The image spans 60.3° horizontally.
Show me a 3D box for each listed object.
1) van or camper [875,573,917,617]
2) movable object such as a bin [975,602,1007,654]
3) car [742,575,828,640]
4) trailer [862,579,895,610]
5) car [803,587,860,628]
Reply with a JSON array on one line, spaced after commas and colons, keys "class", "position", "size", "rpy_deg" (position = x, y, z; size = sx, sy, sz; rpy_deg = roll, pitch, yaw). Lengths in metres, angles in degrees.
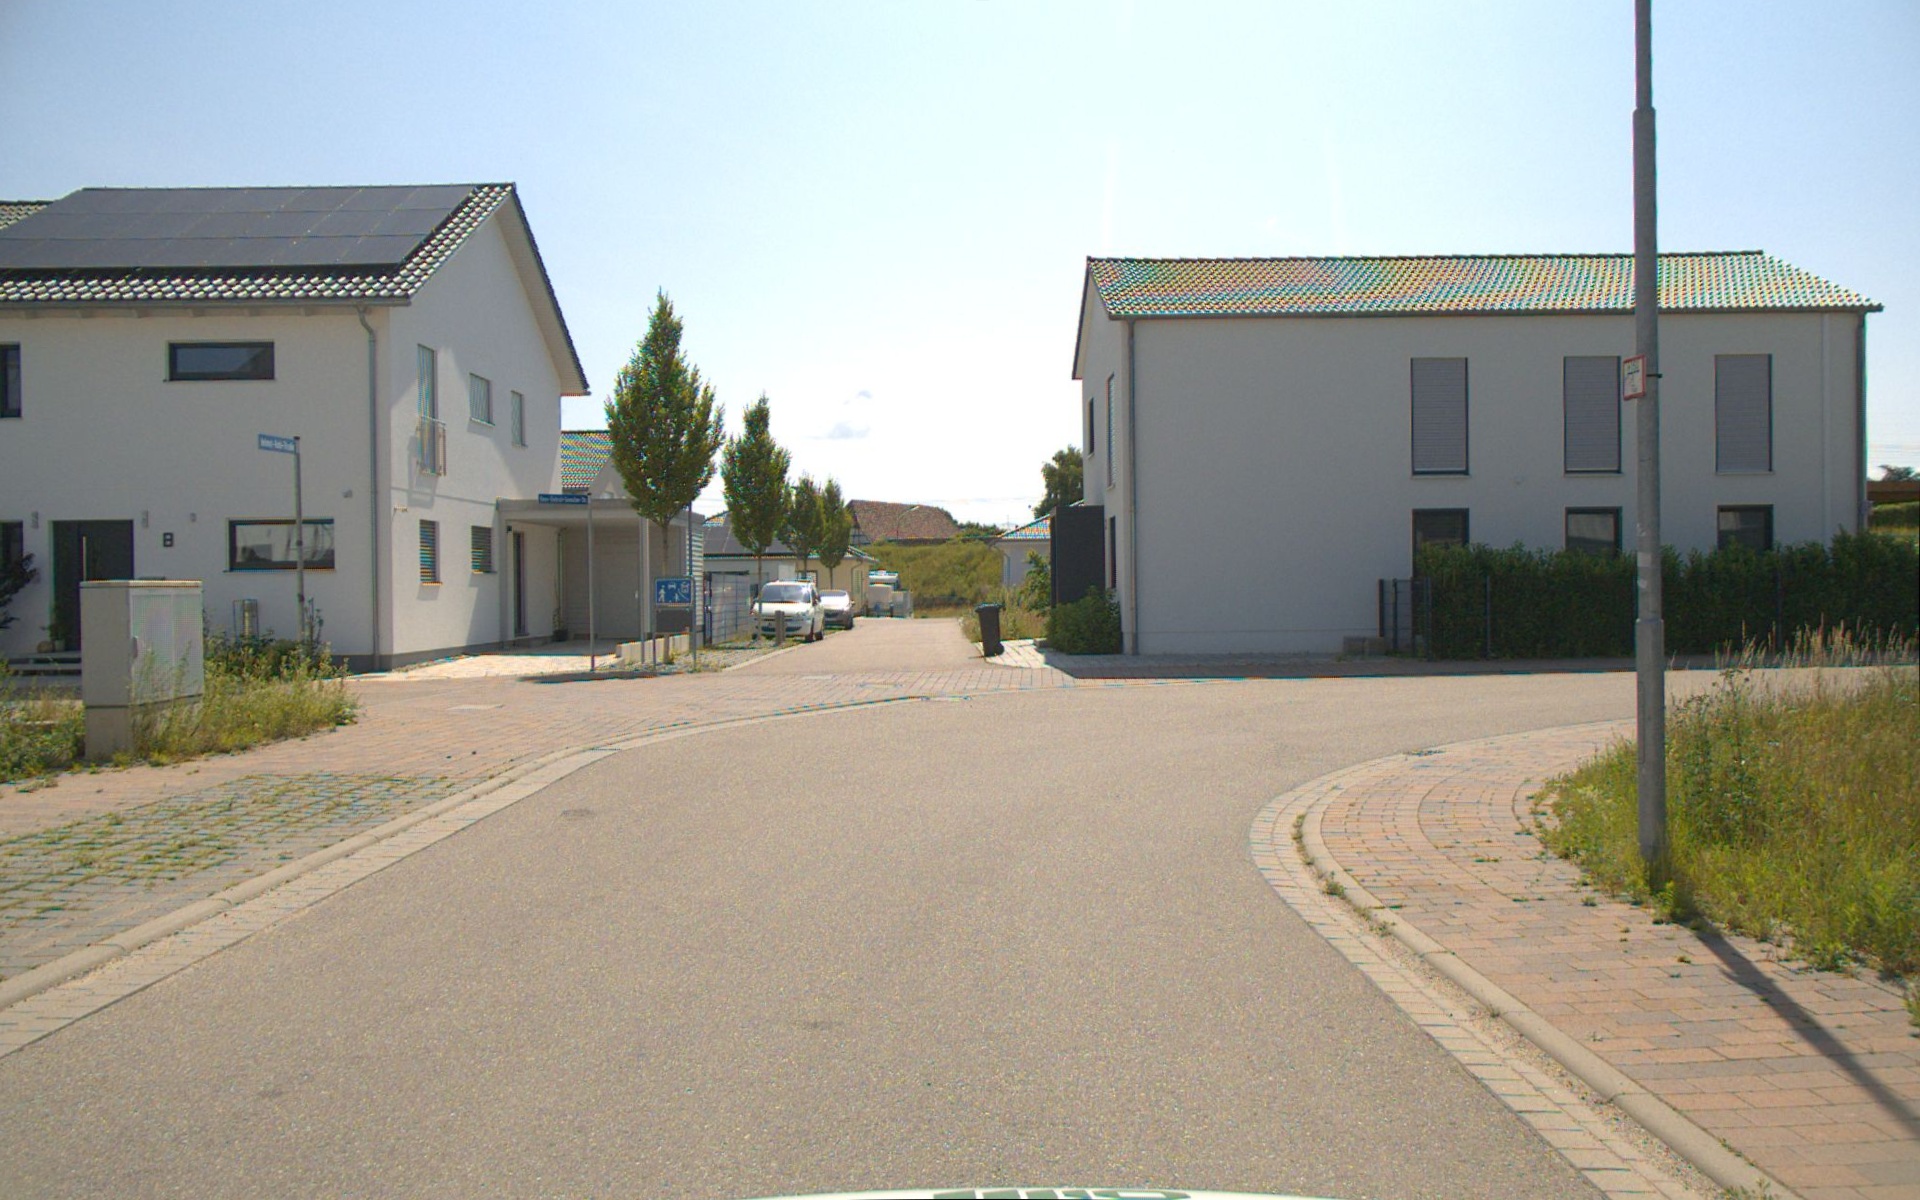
[{"class": "van or camper", "position": [-3.721, -0.288, 97.073], "size": [2.217, 2.453, 4.845], "rpy_deg": [1, 0, 0]}, {"class": "movable object such as a bin", "position": [0.603, 0.541, 32.124], "size": [0.587, 0.965, 0.501], "rpy_deg": [-2, 0, 0]}, {"class": "car", "position": [-5.115, 0.217, 48.909], "size": [1.952, 1.821, 4.647], "rpy_deg": [1, 0, 1]}, {"class": "trailer", "position": [-4.393, -0.285, 89.698], "size": [1.593, 1.642, 2.561], "rpy_deg": [1, 0, 0]}, {"class": "car", "position": [-5.273, 0.302, 68.395], "size": [1.952, 1.642, 4.484], "rpy_deg": [1, 0, 1]}]
